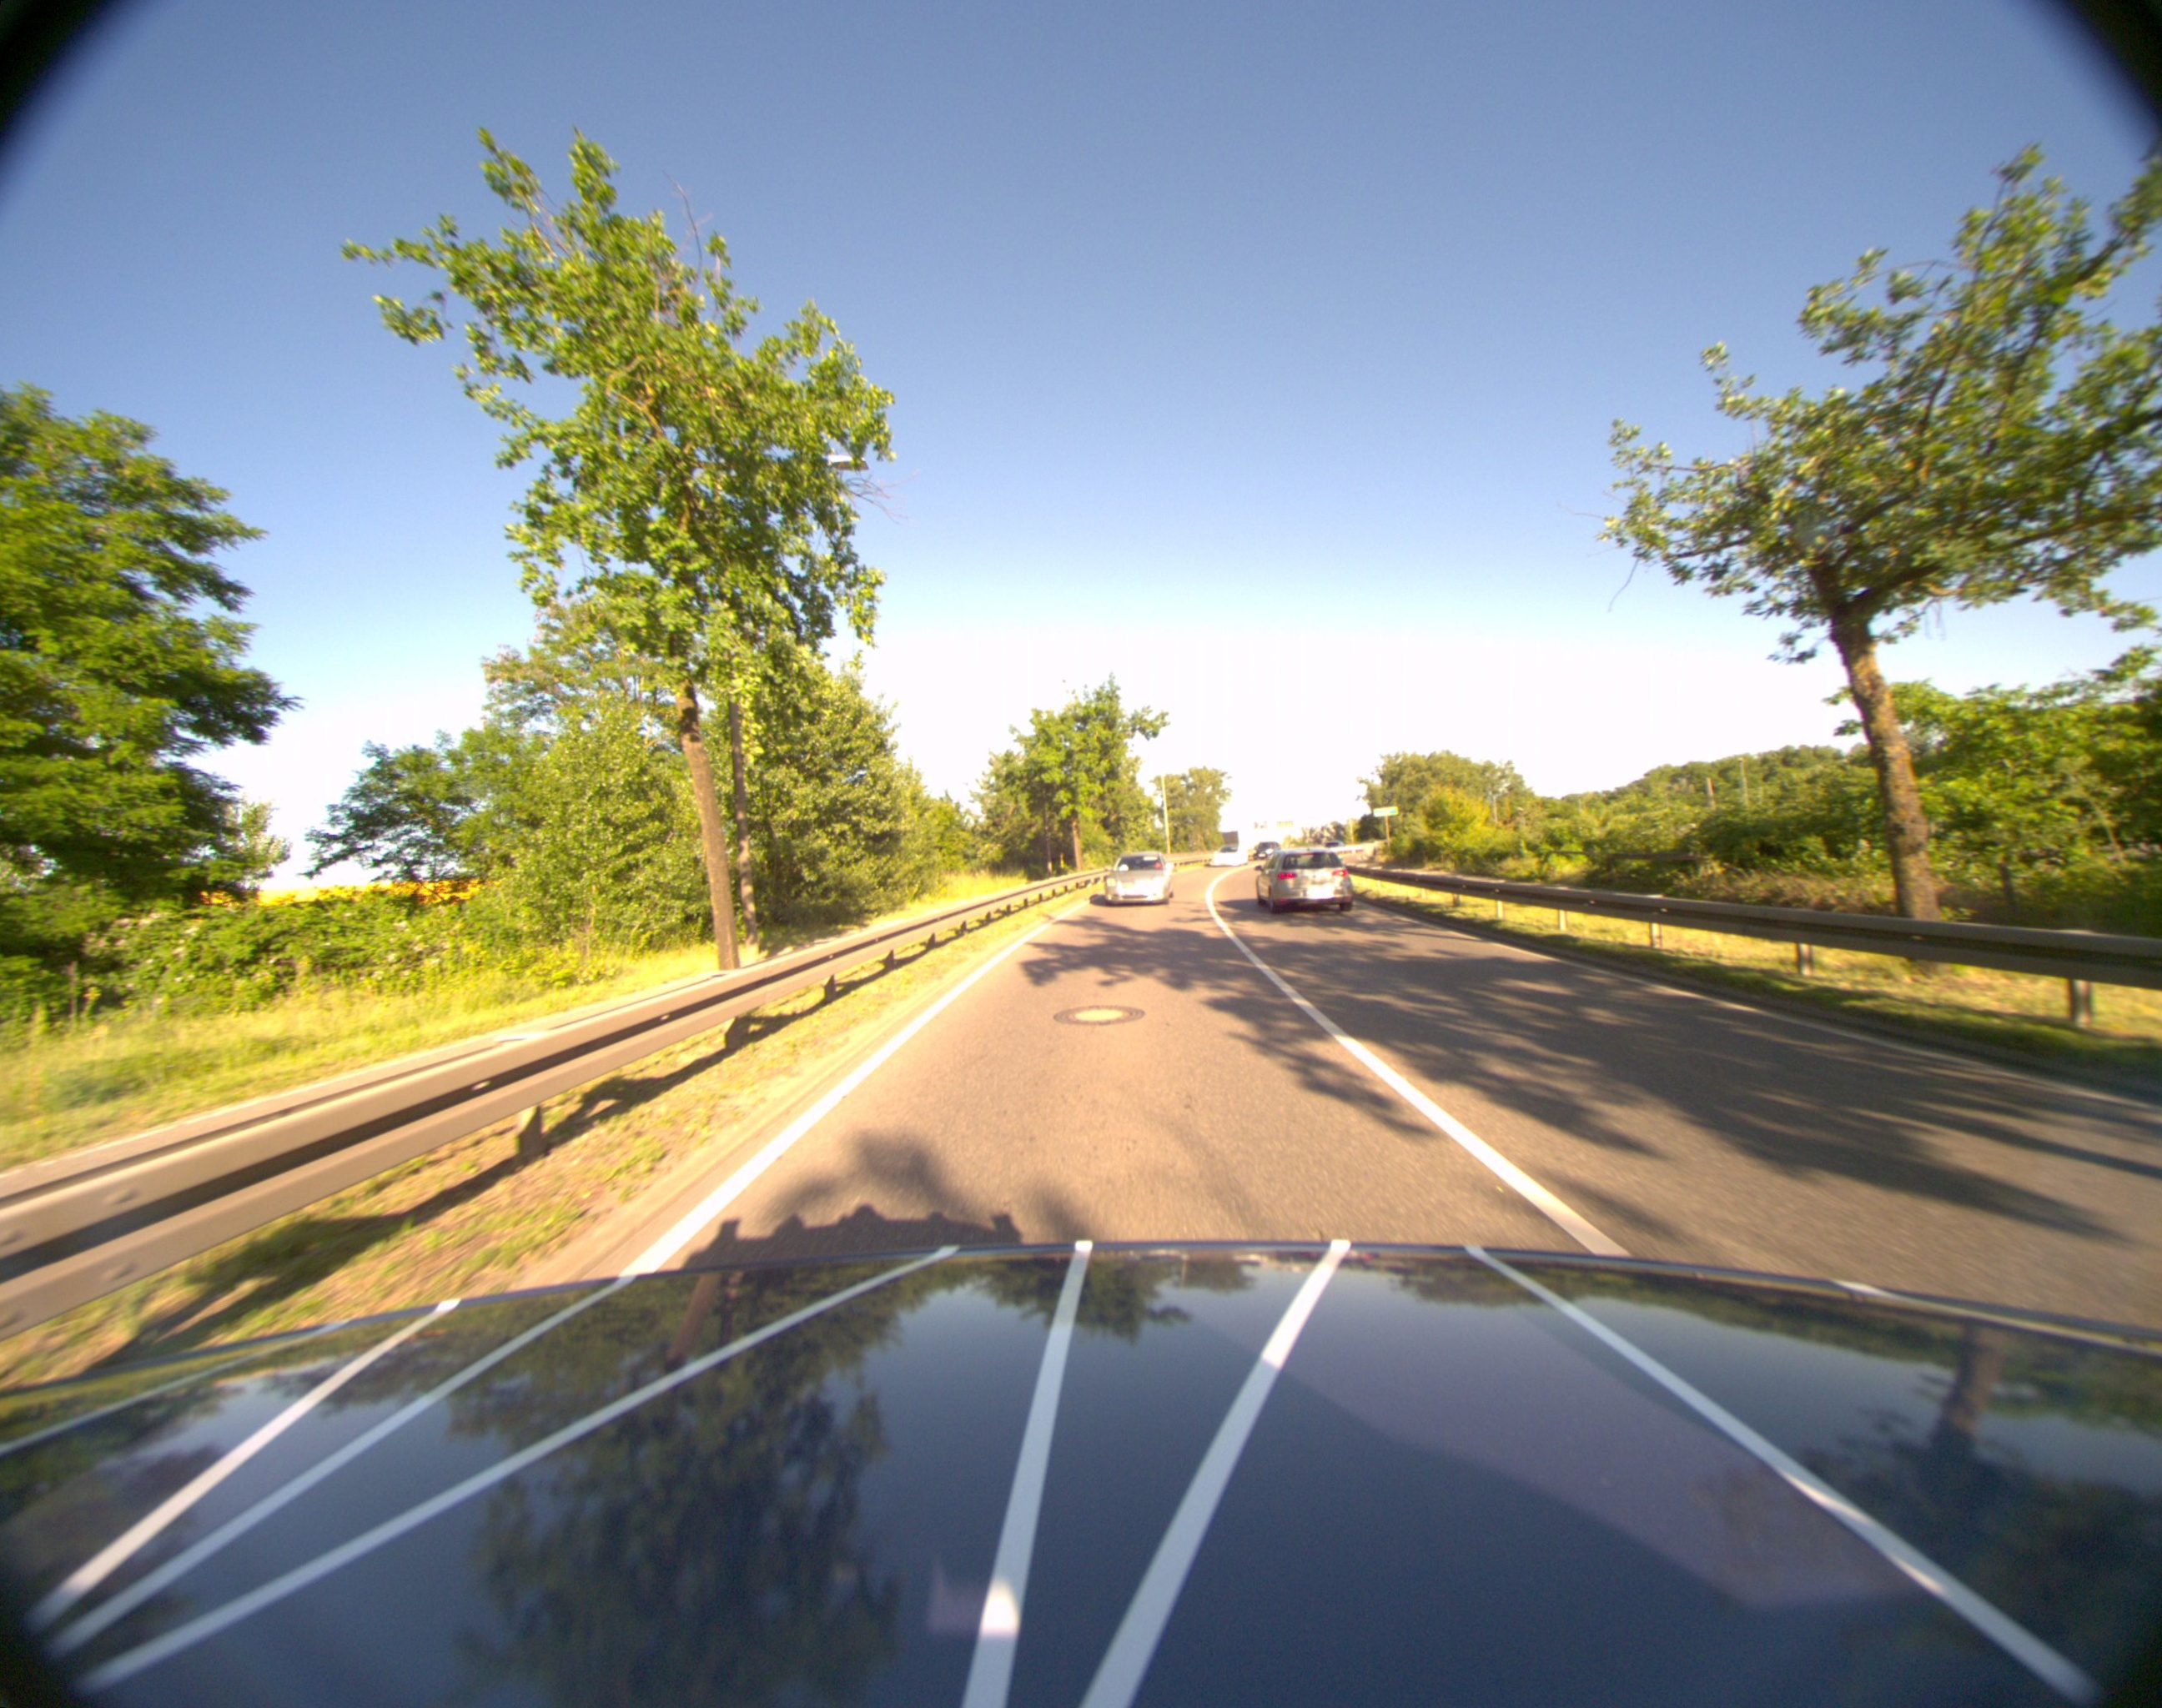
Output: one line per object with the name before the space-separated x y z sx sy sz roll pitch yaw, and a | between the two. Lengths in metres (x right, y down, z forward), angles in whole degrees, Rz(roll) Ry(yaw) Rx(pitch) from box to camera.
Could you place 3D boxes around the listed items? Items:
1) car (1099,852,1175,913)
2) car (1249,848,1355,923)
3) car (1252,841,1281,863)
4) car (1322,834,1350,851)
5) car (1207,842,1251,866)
car | 1.700 0.748 21.840 1.681 1.433 3.861 -3 1 11
car | 5.125 0.656 18.095 1.698 1.509 3.982 -2 1 6
car | 16.211 -0.199 66.374 1.680 1.695 3.611 -3 1 26
car | 25.432 -1.158 75.769 1.680 1.442 4.007 -2 1 32
car | 10.404 -0.007 53.267 2.146 1.558 4.204 -2 1 24
